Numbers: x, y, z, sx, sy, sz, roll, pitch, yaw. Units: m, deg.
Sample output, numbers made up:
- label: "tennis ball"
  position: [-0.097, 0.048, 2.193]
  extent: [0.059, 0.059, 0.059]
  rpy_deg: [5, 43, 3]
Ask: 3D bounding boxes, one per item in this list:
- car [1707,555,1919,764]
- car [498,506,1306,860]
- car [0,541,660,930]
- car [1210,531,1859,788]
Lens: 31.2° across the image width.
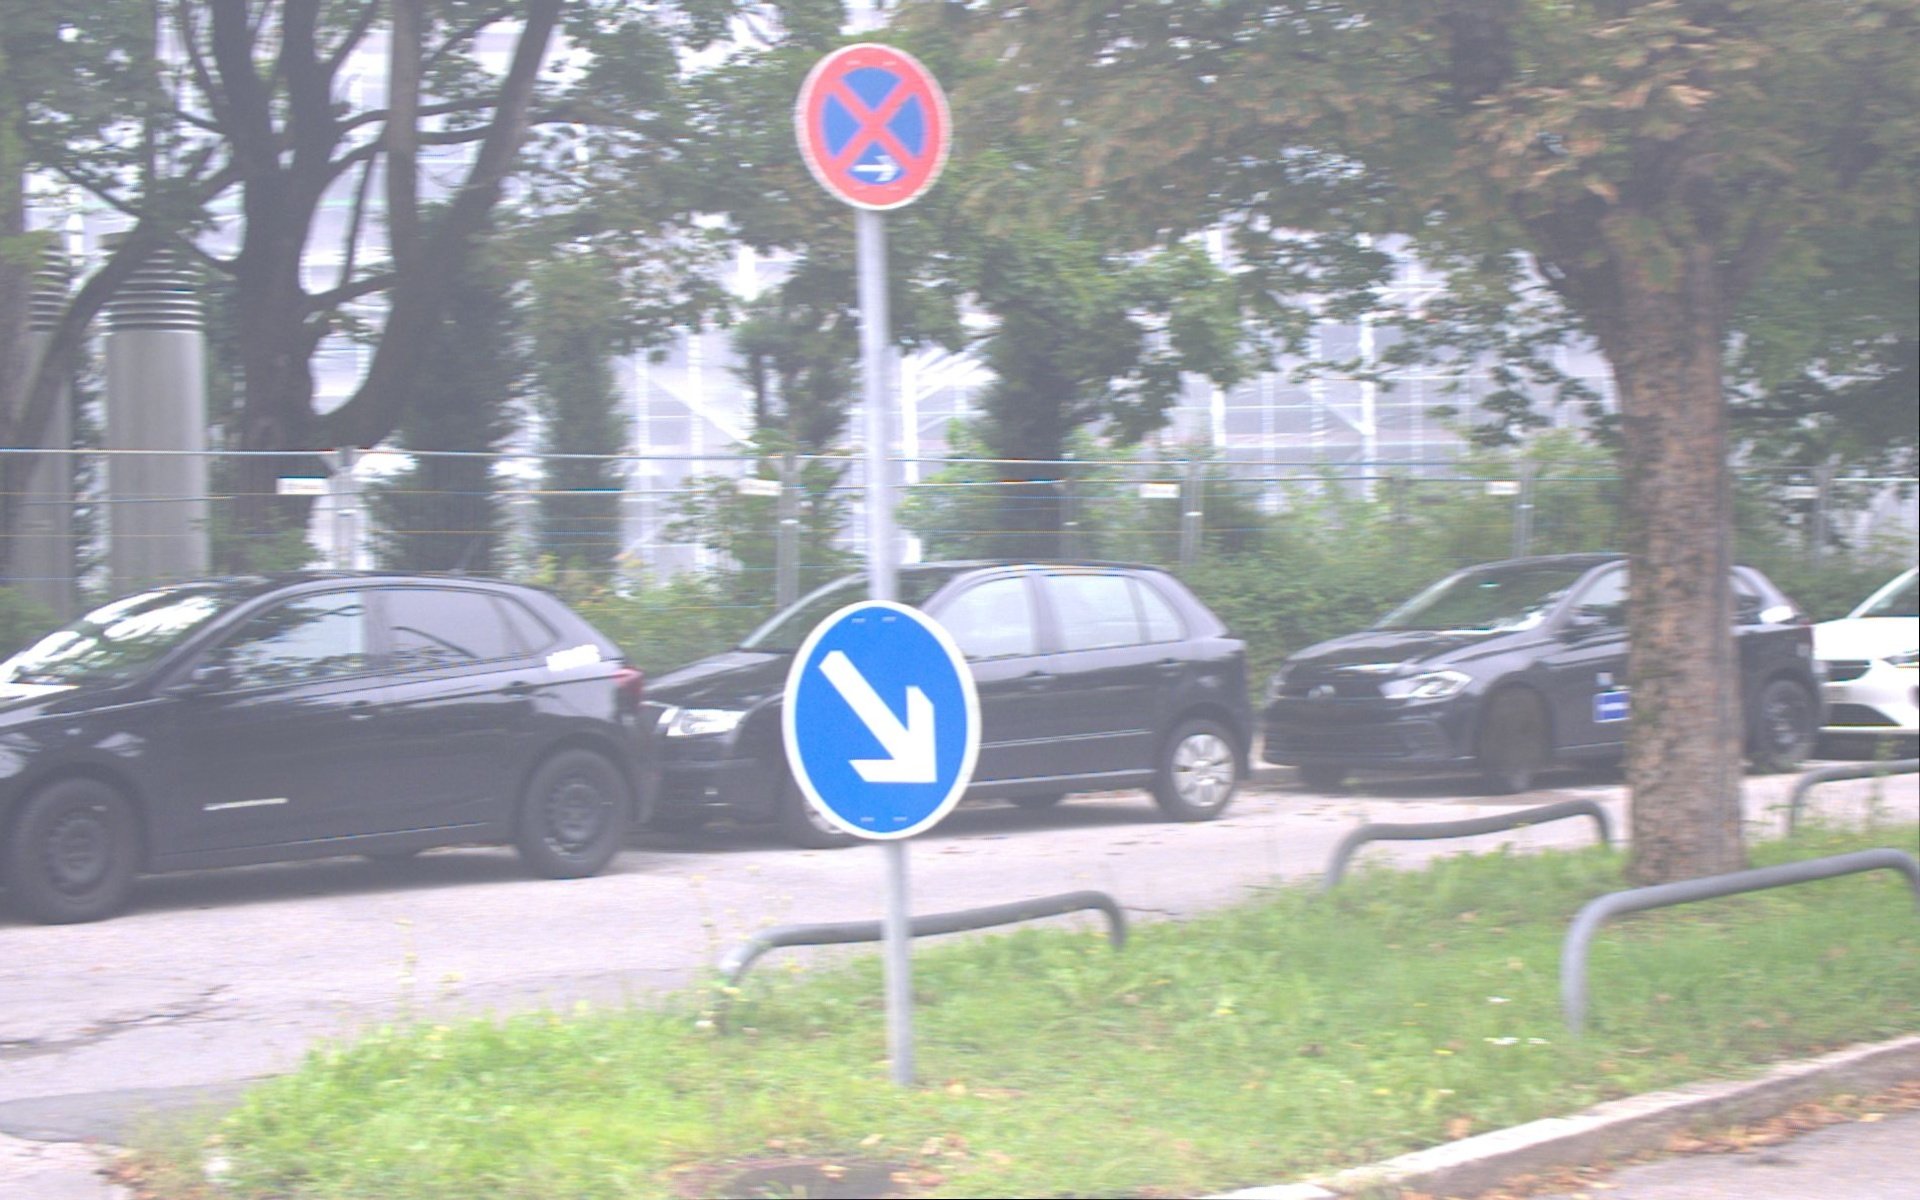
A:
- label: "car"
  position: [7.473, 0.365, 24.641]
  extent: [4.205, 1.379, 1.801]
  rpy_deg: [-1, 0, -37]
- label: "car"
  position: [-0.250, 0.346, 18.572]
  extent: [3.988, 1.700, 1.999]
  rpy_deg: [-1, 2, -39]
- label: "car"
  position: [-3.572, 0.526, 15.432]
  extent: [3.988, 1.535, 1.999]
  rpy_deg: [-2, 2, -39]
- label: "car"
  position: [3.681, 0.332, 21.710]
  extent: [3.994, 1.456, 1.839]
  rpy_deg: [-1, 0, -39]
